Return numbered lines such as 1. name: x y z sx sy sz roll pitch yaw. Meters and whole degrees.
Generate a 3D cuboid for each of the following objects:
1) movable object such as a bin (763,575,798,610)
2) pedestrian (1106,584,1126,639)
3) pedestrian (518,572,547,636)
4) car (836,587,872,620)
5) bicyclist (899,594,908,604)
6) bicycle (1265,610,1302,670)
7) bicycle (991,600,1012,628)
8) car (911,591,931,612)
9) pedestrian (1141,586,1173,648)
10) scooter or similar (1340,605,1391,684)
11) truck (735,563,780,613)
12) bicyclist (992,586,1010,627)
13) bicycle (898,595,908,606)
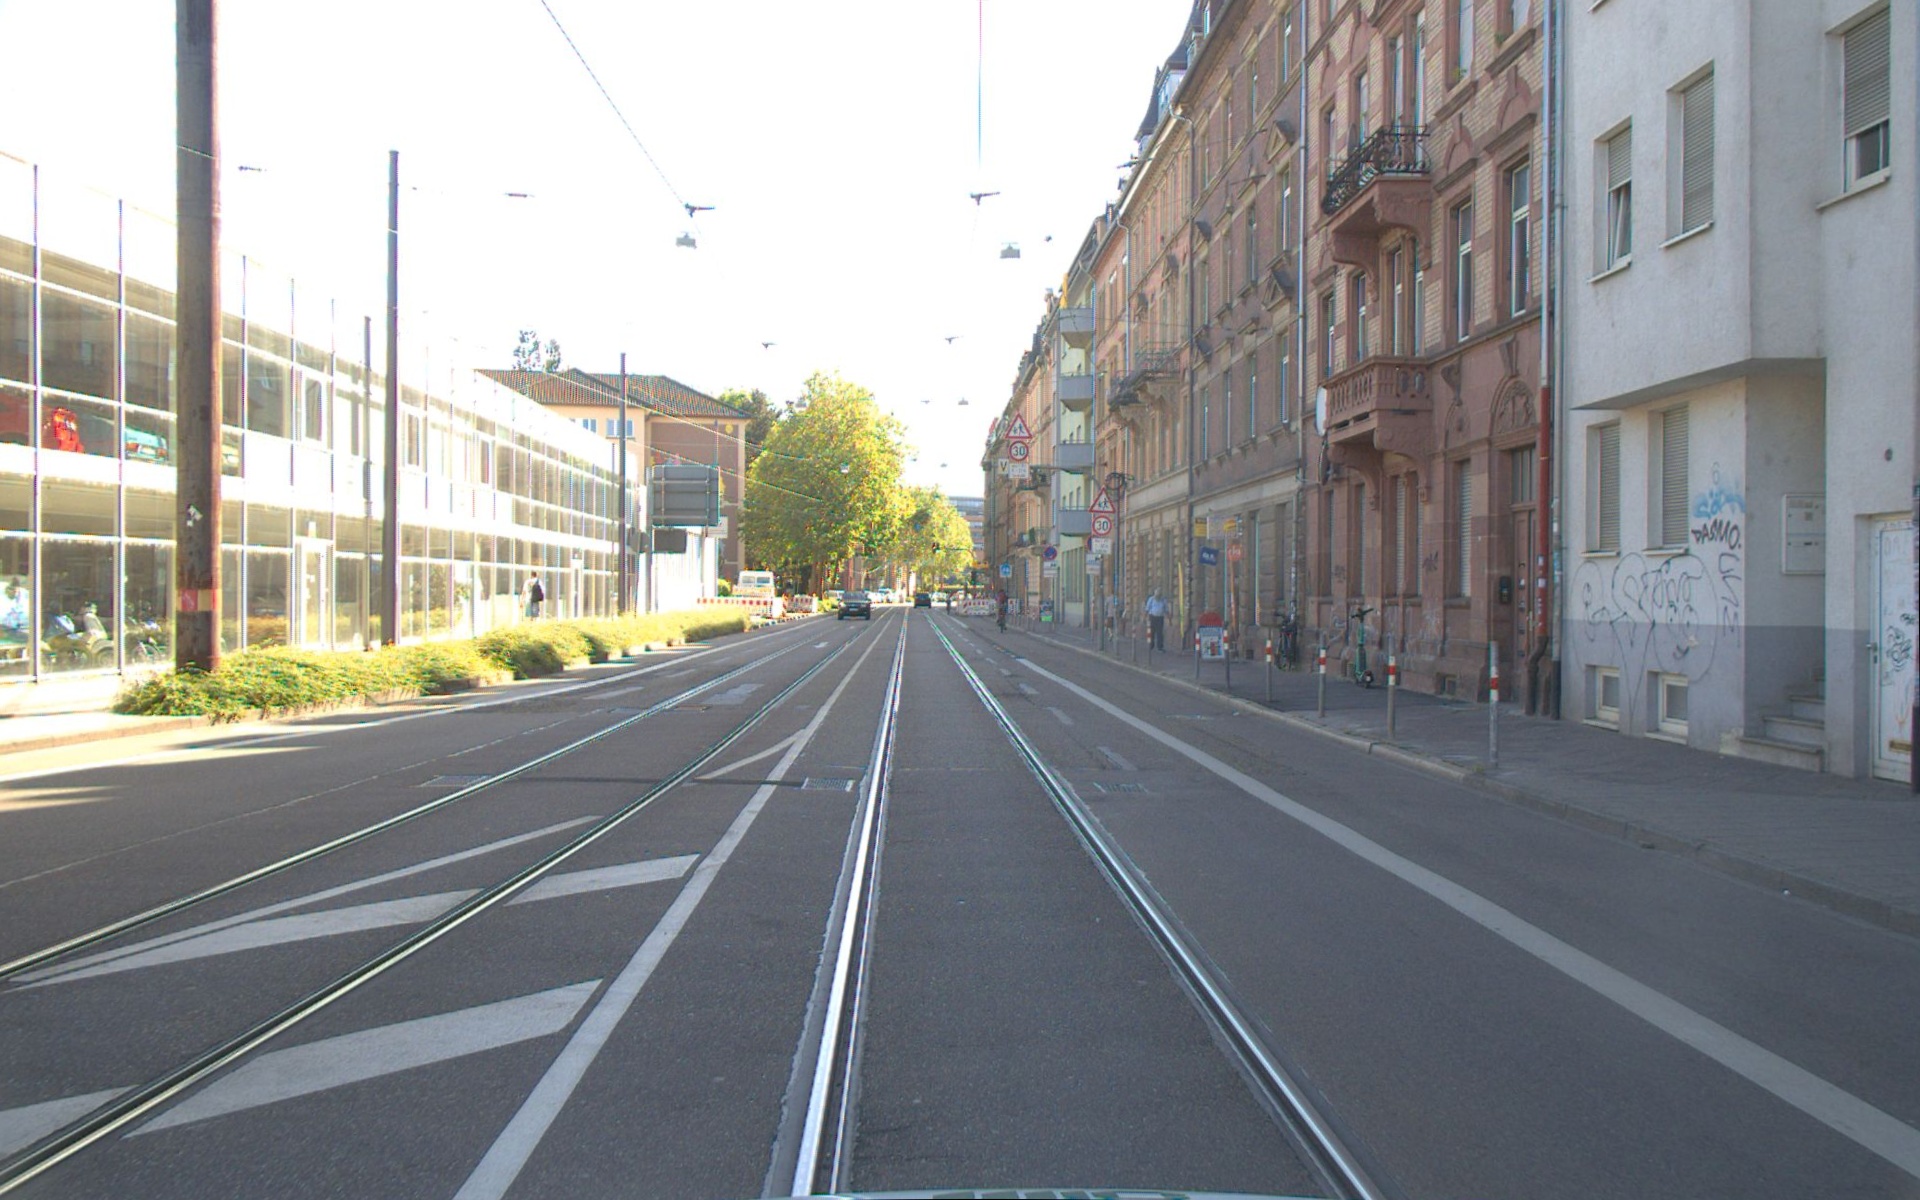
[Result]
1. movable object such as a bin: -14.482 -0.629 133.734 2.446 2.691 5.984 2 0 -4
2. pedestrian: 4.981 0.378 52.835 0.541 1.730 0.474 -2 -1 2
3. pedestrian: -12.231 0.127 47.372 0.516 1.795 1.050 2 -1 -2
4. car: -5.989 0.202 93.618 1.723 1.726 4.143 2 0 -1
5. bicyclist: -8.803 -0.114 257.549 1.054 1.452 1.147 2 -1 6
6. bicycle: 6.365 0.774 32.574 0.401 1.141 1.898 -1 -1 2
7. bicycle: 1.738 0.579 69.590 0.667 1.134 2.706 2 0 -2
8. car: -4.001 0.160 170.410 1.953 2.049 3.999 2 -1 -1
9. pedestrian: 5.252 0.447 44.120 0.782 1.633 0.652 0 -1 0
10. scooter or similar: 6.483 0.697 26.471 0.398 1.232 1.480 -1 -1 -1
11. truck: -12.510 -0.703 102.765 2.489 2.879 6.369 2 0 -5
12. bicyclist: 1.738 0.279 69.708 0.653 1.726 1.042 2 -1 -2
13. bicycle: -8.887 0.054 257.652 1.208 1.600 2.899 2 -1 5
